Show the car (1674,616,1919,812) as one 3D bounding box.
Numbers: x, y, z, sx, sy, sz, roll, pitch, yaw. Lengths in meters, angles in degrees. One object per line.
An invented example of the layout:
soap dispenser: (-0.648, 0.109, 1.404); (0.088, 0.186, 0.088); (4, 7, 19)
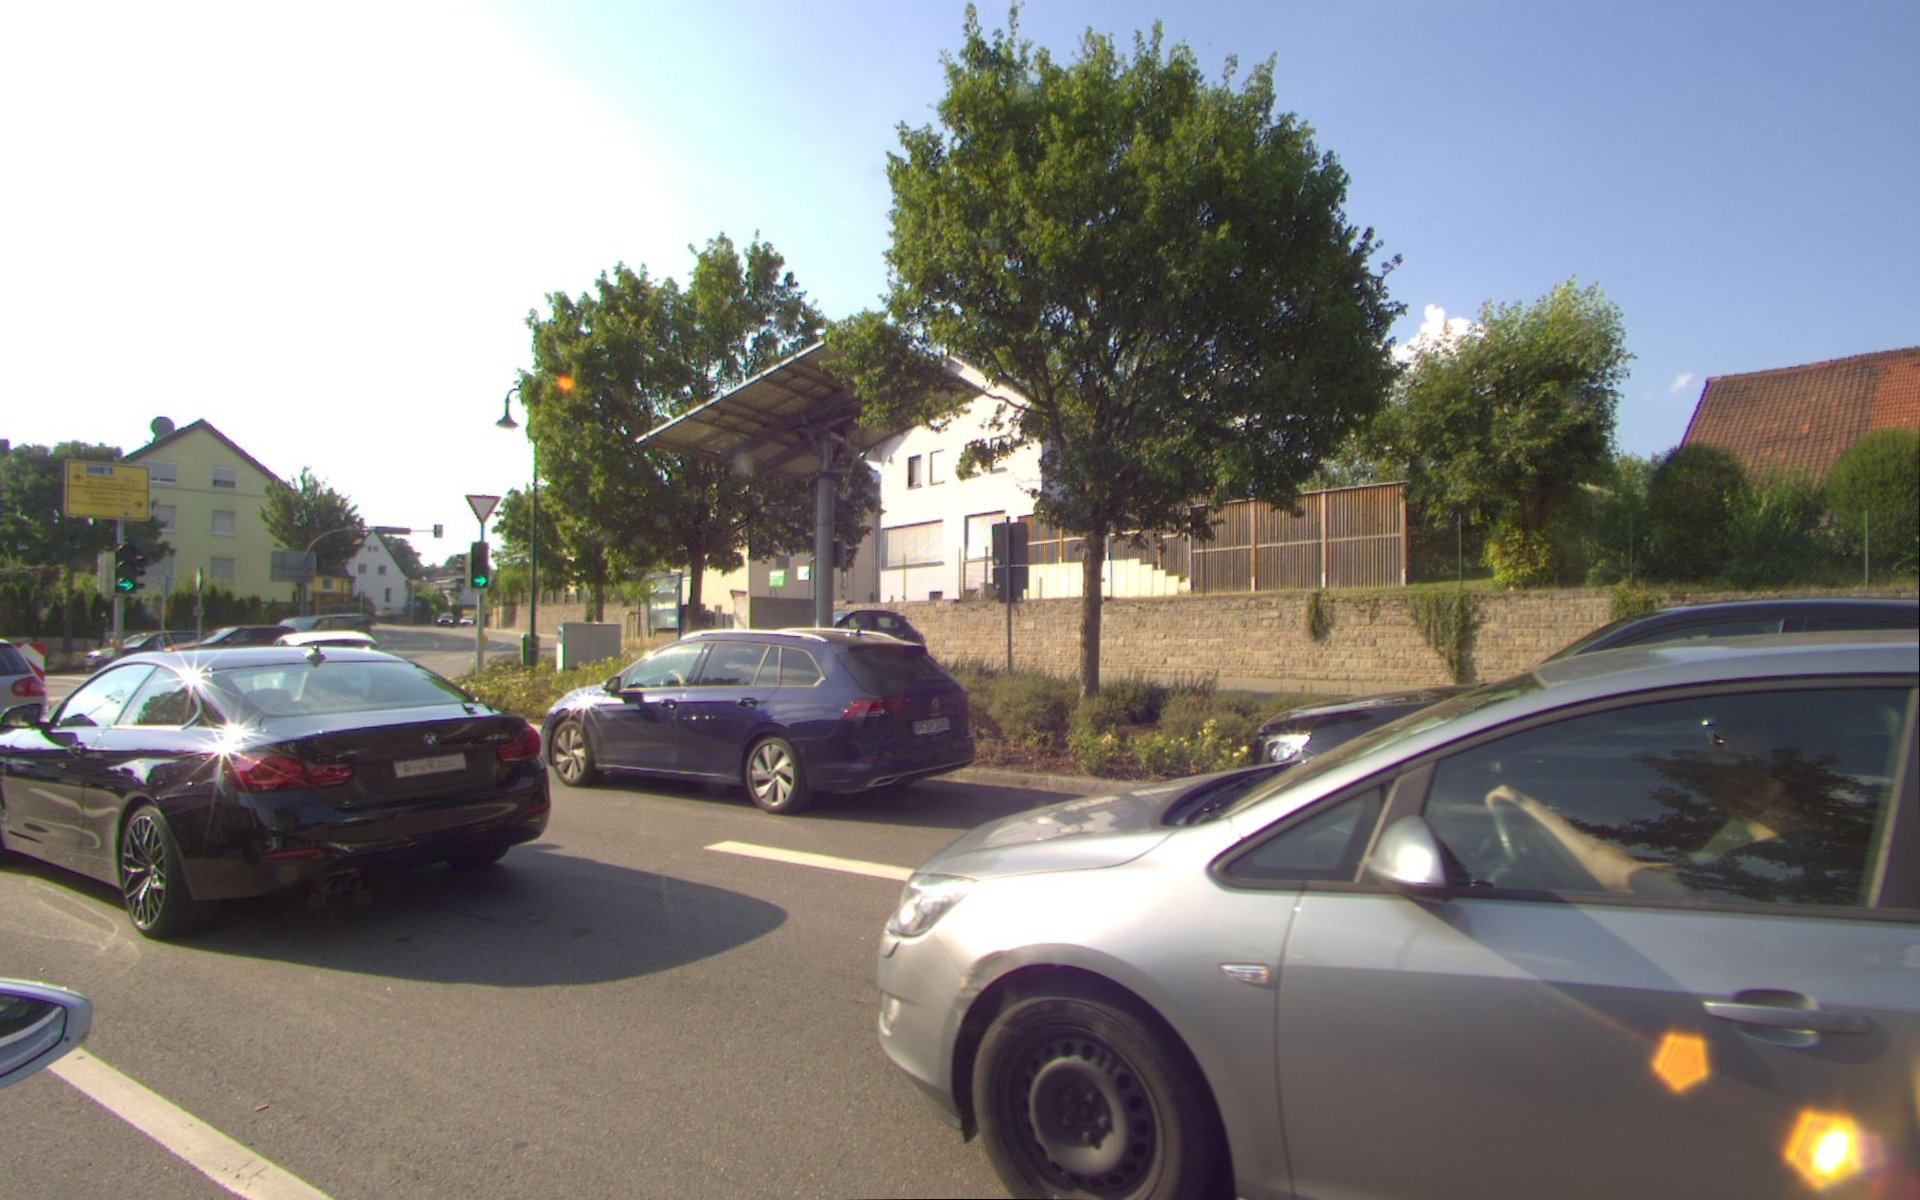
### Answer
car: (8.269, 0.949, 9.728); (1.758, 1.510, 4.120); (-1, -2, 41)

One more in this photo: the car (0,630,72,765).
car: (-12.189, 1.093, 11.699); (3.848, 1.444, 1.758); (-1, 0, 33)

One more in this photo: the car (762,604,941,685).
car: (-2.333, 0.967, 22.282); (1.758, 1.653, 3.800); (-1, -2, 40)

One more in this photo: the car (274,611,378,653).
car: (-28.155, 1.419, 44.680); (1.812, 1.761, 4.786); (0, -2, -3)

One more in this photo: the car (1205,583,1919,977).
car: (3.751, 0.759, 5.260); (4.497, 1.630, 1.760); (-1, 0, 29)

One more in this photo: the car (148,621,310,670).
car: (-26.441, 1.618, 36.395); (1.818, 1.662, 4.418); (0, -2, 25)

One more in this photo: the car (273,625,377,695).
car: (-16.126, 1.456, 25.634); (1.635, 1.562, 4.382); (-1, 0, -25)

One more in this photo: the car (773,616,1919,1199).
car: (1.745, 0.787, 2.436); (4.256, 1.472, 1.758); (-1, 0, 31)

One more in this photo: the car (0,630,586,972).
car: (-4.391, 0.915, 6.170); (4.220, 1.416, 1.758); (-1, 0, 33)

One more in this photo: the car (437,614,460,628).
car: (-64.867, 2.699, 127.074); (1.937, 1.701, 4.207); (0, -1, -18)

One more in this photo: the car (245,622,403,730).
car: (-10.505, 1.158, 16.466); (1.607, 1.562, 3.286); (-1, 0, -43)

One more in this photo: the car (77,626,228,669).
car: (-30.027, 1.740, 37.349); (1.821, 1.508, 3.983); (-1, -2, 30)

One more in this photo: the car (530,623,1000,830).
car: (-1.899, 0.963, 9.187); (4.259, 1.472, 1.757); (-1, 0, 34)
